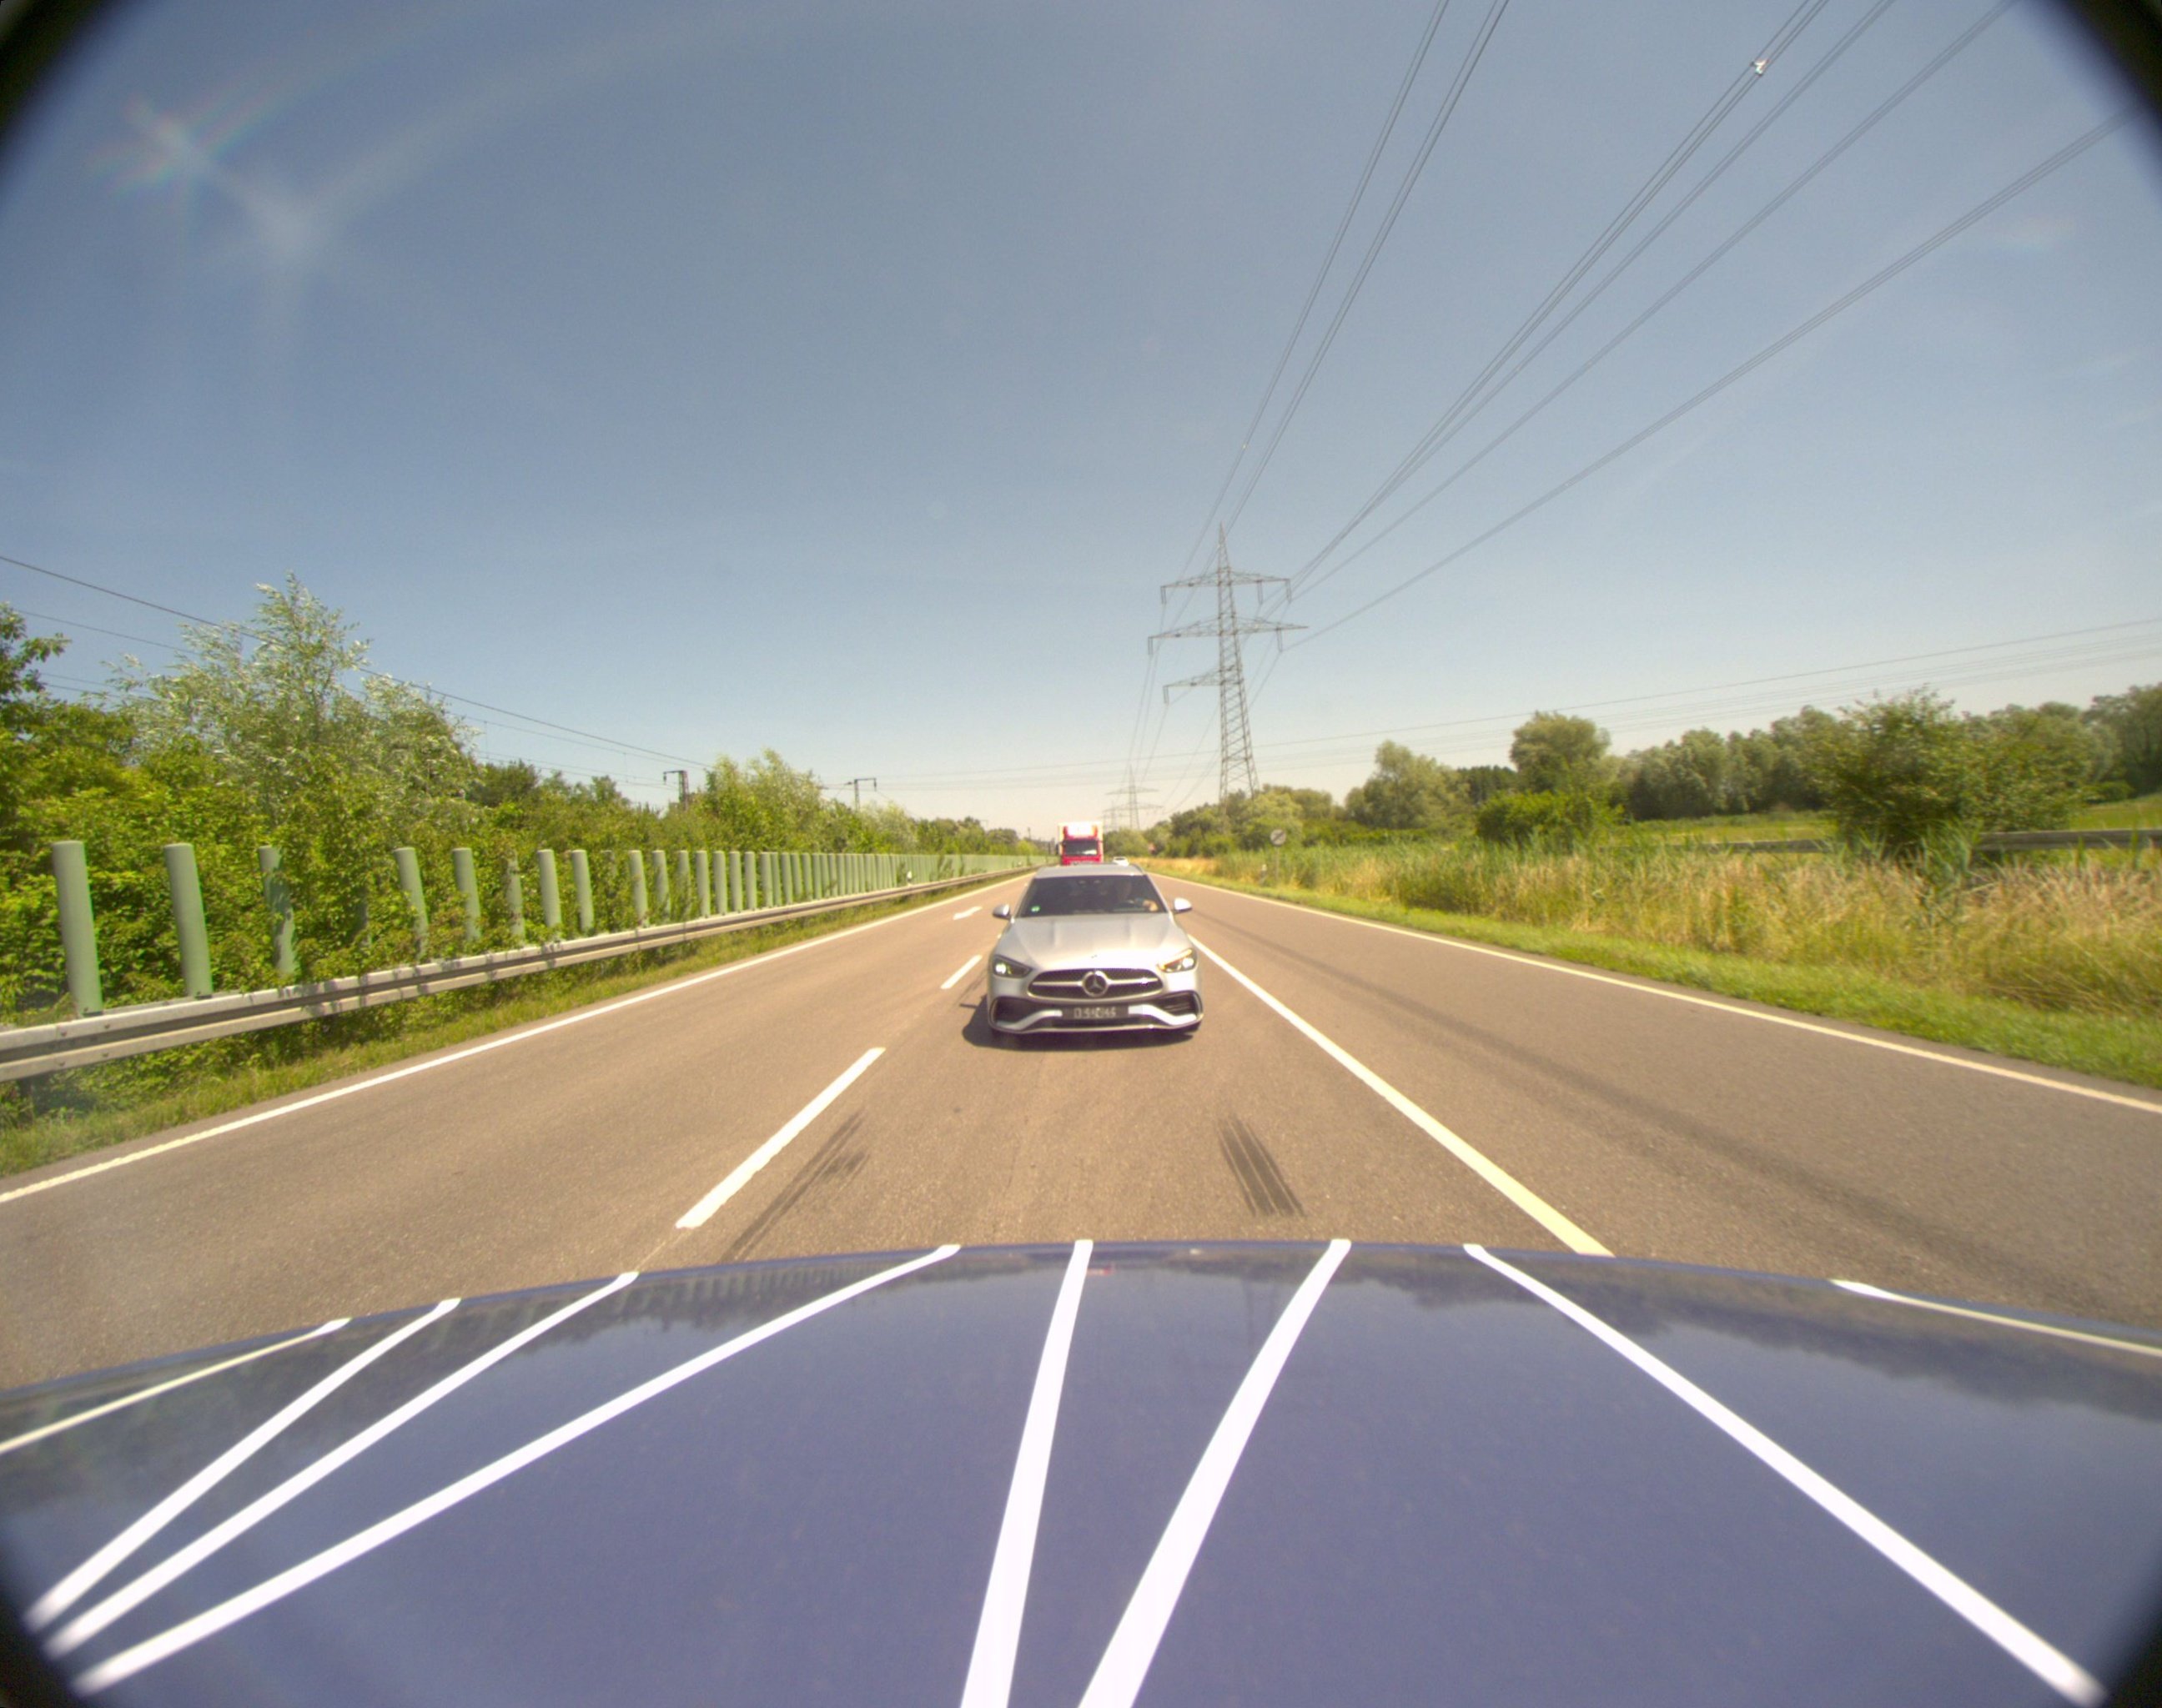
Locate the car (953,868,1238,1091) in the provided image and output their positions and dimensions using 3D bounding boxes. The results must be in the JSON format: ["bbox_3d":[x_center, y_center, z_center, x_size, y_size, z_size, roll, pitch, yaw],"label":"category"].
[{"bbox_3d":[0.136,0.948,7.677,1.998,1.437,4.467,-2,0,1],"label":"car"}]

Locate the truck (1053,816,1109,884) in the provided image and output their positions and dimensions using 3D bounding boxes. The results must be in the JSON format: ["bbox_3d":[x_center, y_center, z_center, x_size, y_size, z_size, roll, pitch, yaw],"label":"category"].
[{"bbox_3d":[0.014,-0.232,46.183,2.907,3.641,7.156,-4,0,0],"label":"truck"}]

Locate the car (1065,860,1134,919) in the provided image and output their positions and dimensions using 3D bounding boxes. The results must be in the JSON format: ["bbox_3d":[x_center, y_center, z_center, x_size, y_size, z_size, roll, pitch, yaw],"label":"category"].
[{"bbox_3d":[0.521,0.917,21.425,1.698,1.385,4.468,-2,0,1],"label":"car"}]

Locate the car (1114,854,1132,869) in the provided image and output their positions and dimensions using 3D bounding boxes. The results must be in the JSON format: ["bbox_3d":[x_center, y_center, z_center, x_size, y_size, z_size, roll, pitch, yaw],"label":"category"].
[{"bbox_3d":[4.570,0.799,82.373,1.729,1.432,4.250,-5,0,3],"label":"car"}]
